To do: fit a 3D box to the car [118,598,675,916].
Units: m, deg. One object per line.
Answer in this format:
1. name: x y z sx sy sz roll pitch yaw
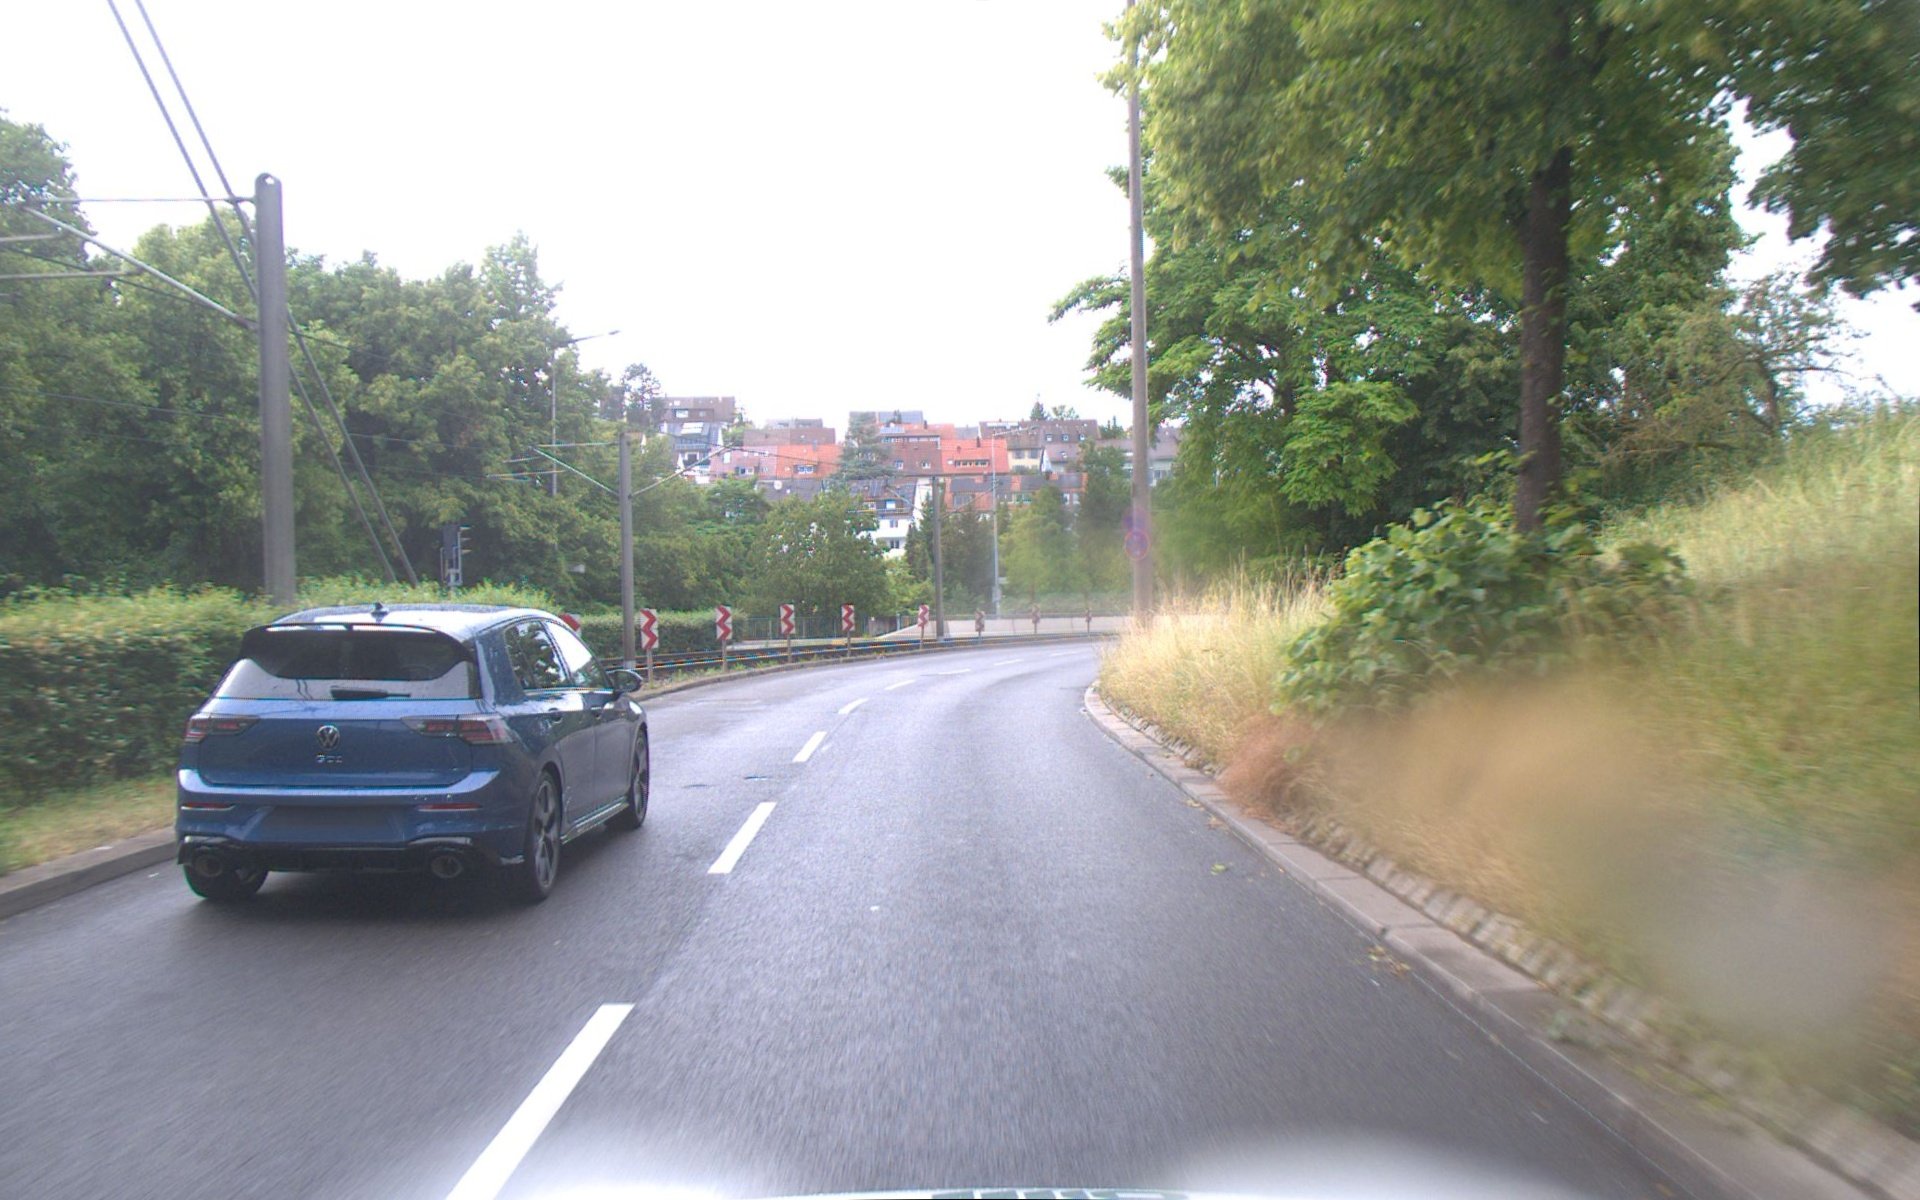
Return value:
1. car: -2.860 0.717 9.488 1.771 1.403 4.346 0 -1 -1
